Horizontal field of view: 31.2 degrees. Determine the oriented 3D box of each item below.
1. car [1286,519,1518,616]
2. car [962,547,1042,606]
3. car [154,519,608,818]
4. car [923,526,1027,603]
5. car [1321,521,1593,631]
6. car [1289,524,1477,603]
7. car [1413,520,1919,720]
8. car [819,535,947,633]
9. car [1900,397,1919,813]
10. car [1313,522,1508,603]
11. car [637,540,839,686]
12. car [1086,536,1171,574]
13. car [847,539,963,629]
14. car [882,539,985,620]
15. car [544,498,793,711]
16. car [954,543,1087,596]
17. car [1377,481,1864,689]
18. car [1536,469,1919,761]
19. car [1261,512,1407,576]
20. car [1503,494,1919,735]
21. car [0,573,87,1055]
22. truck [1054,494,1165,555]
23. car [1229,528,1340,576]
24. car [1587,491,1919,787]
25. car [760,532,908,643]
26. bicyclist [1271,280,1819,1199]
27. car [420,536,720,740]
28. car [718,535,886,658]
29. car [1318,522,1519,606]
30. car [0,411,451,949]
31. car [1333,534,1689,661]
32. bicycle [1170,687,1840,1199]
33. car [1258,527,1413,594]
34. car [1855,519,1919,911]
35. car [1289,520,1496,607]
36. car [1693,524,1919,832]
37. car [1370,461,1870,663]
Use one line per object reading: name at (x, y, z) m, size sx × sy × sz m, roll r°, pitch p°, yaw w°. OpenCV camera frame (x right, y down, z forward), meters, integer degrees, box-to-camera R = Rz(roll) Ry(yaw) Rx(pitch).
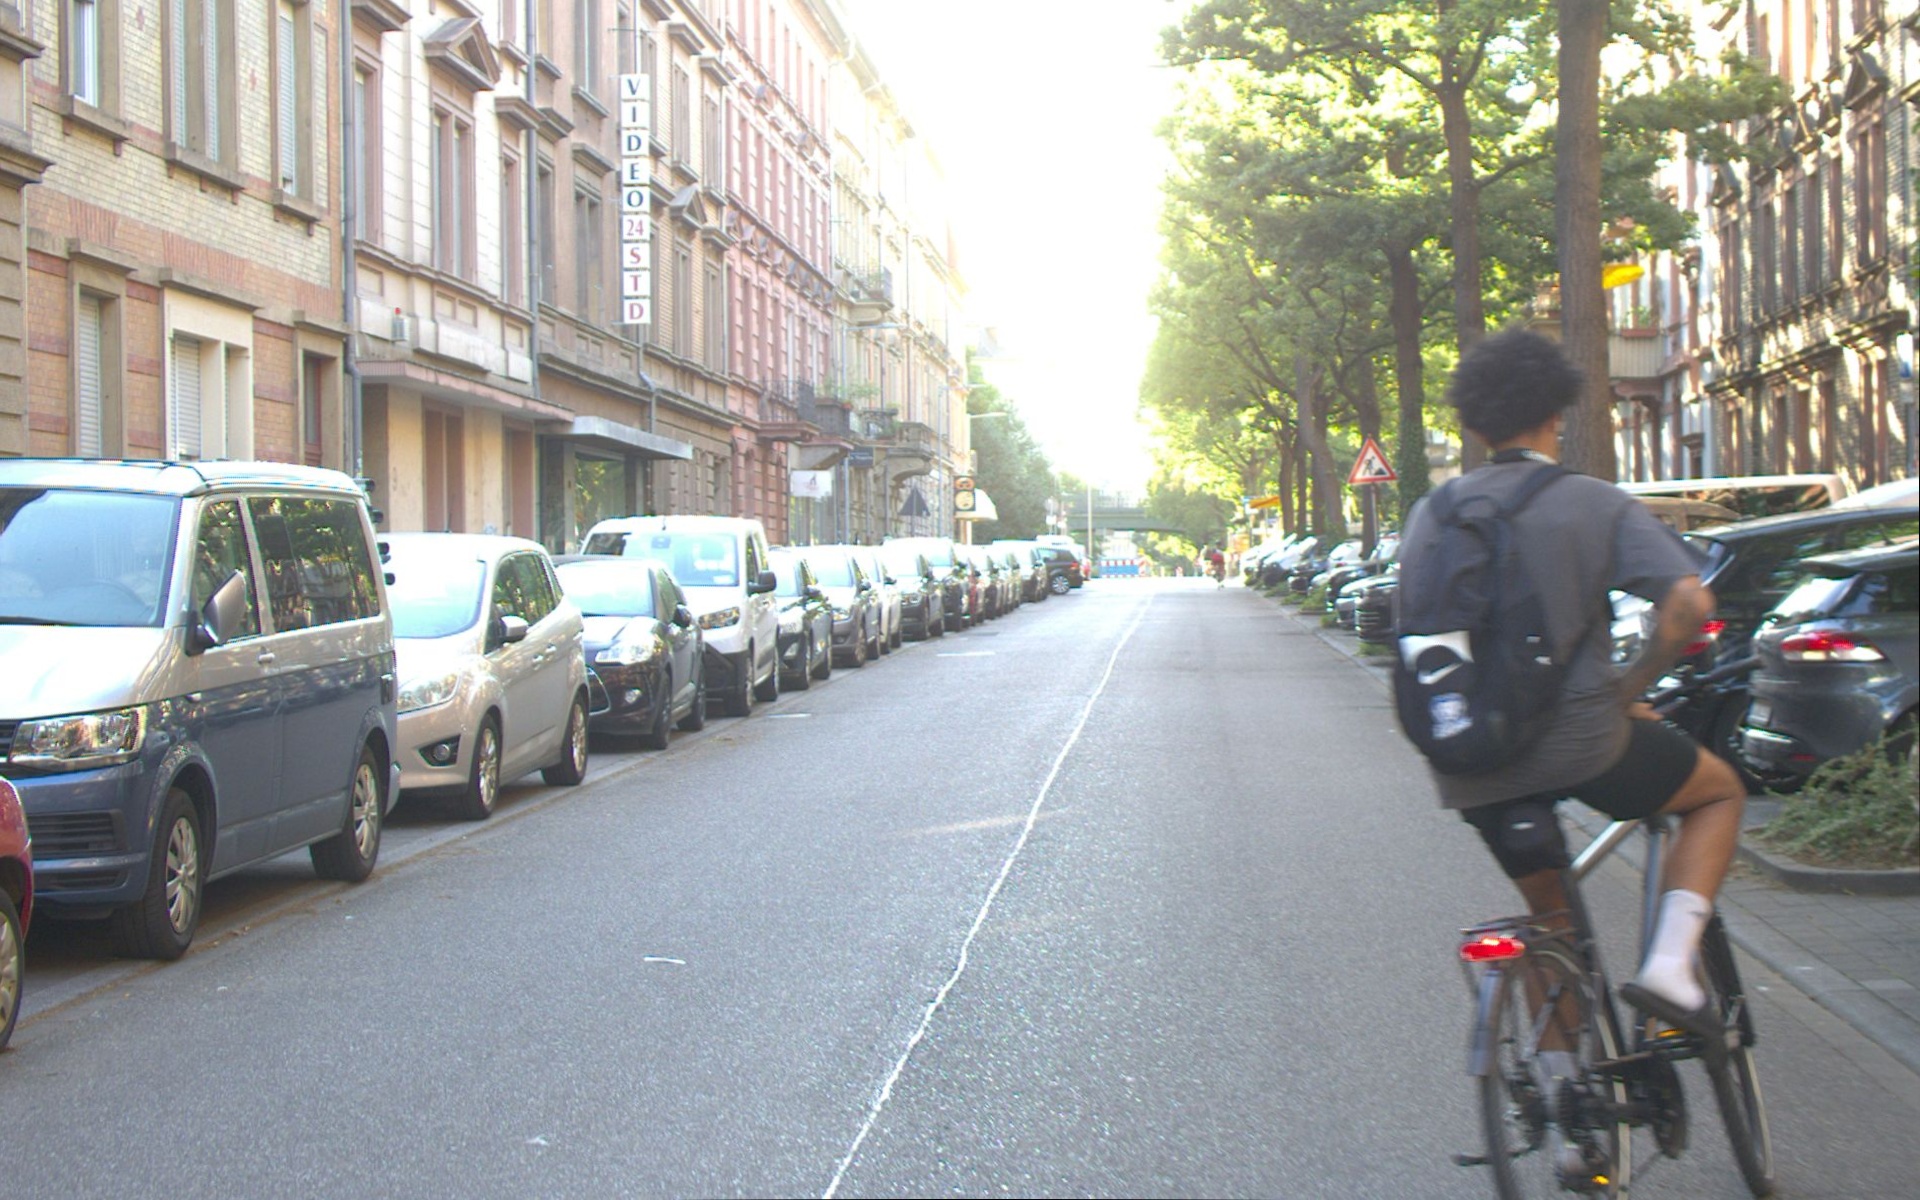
car at (8.000, -0.589, 62.364) m, size 3.849 × 1.568 × 1.718 m, roll -3°, pitch 1°, yaw -4°
car at (1.144, -0.616, 92.005) m, size 1.994 × 1.481 × 3.999 m, roll -1°, pitch -1°, yaw 3°
car at (-3.409, 0.337, 21.075) m, size 1.754 × 1.603 × 4.383 m, roll 1°, pitch 1°, yaw 4°
car at (0.342, -0.712, 71.876) m, size 1.994 × 1.481 × 3.999 m, roll -1°, pitch -1°, yaw 3°
car at (7.542, -0.375, 52.417) m, size 3.850 × 1.474 × 1.718 m, roll -2°, pitch 1°, yaw 1°
car at (9.409, -0.825, 76.683) m, size 3.849 × 1.568 × 1.718 m, roll -3°, pitch 1°, yaw -4°
car at (5.941, 0.136, 27.909) m, size 4.220 × 1.398 × 1.835 m, roll -3°, pitch 1°, yaw -1°
car at (-1.187, -0.285, 54.664) m, size 1.758 × 1.468 × 4.059 m, roll -1°, pitch 1°, yaw 2°
car at (5.258, 0.221, 10.047) m, size 4.444 × 1.917 × 1.850 m, roll -3°, pitch 2°, yaw 2°
car at (9.758, -0.822, 74.619) m, size 3.849 × 1.568 × 1.718 m, roll -3°, pitch 1°, yaw -4°
car at (-2.363, 0.102, 37.487) m, size 1.758 × 1.468 × 4.059 m, roll -1°, pitch 1°, yaw 2°
car at (8.392, -2.259, 170.896) m, size 3.989 × 1.853 × 1.750 m, roll 1°, pitch 1°, yaw 12°
car at (-0.918, -0.297, 59.422) m, size 1.758 × 1.468 × 4.059 m, roll -1°, pitch 1°, yaw 2°
car at (-0.486, -0.421, 65.898) m, size 1.758 × 1.468 × 4.059 m, roll -1°, pitch 1°, yaw 2°
car at (-2.673, -0.003, 32.442) m, size 1.758 × 1.835 × 4.529 m, roll -1°, pitch 1°, yaw 2°
car at (1.819, -0.881, 102.311) m, size 1.997 × 1.481 × 3.991 m, roll -1°, pitch -1°, yaw 36°
car at (6.417, -0.164, 33.523) m, size 4.220 × 1.789 × 1.836 m, roll -3°, pitch 1°, yaw -15°
car at (6.092, 0.037, 22.803) m, size 4.221 × 1.770 × 1.835 m, roll -2°, pitch 1°, yaw 3°
car at (10.247, -1.544, 94.402) m, size 3.850 × 1.568 × 1.718 m, roll -2°, pitch 1°, yaw 3°
car at (6.344, 0.052, 25.497) m, size 4.220 × 1.605 × 1.835 m, roll -3°, pitch 1°, yaw -3°
car at (-3.845, 0.666, 9.495) m, size 1.593 × 1.470 × 3.699 m, roll 1°, pitch 1°, yaw 6°
truck at (10.054, -5.079, 231.101) m, size 7.222 × 3.936 × 2.437 m, roll 1°, pitch 1°, yaw -33°
car at (11.752, -1.741, 124.678) m, size 3.850 × 1.568 × 1.718 m, roll -2°, pitch 1°, yaw 3°
car at (5.838, 0.167, 20.167) m, size 4.011 × 1.601 × 1.733 m, roll -2°, pitch 0°, yaw 4°
car at (-1.736, -0.204, 48.436) m, size 1.758 × 1.468 × 4.059 m, roll -1°, pitch 1°, yaw 2°
bicyclist at (1.292, 0.271, 7.398) m, size 0.996 × 1.784 × 1.206 m, roll 0°, pitch 0°, yaw 18°
car at (-3.031, 0.246, 27.449) m, size 1.758 × 1.462 × 4.000 m, roll 1°, pitch 1°, yaw 2°
car at (-1.949, -0.080, 43.572) m, size 1.758 × 1.468 × 4.059 m, roll -1°, pitch 1°, yaw 2°
car at (9.580, -0.762, 72.015) m, size 3.849 × 1.568 × 1.718 m, roll -3°, pitch 1°, yaw -4°
car at (-3.720, 0.229, 15.118) m, size 1.832 × 1.936 × 5.259 m, roll 1°, pitch 1°, yaw 4°
car at (6.389, -0.044, 40.140) m, size 3.850 × 1.289 × 1.718 m, roll -2°, pitch 1°, yaw 1°
bicycle at (1.293, 0.806, 7.395) m, size 0.996 × 1.154 × 2.920 m, roll 0°, pitch 0°, yaw 18°
car at (9.765, -1.027, 89.538) m, size 3.850 × 1.568 × 1.718 m, roll -2°, pitch 1°, yaw 3°
car at (5.383, 0.342, 12.535) m, size 3.658 × 1.450 × 1.850 m, roll -3°, pitch 2°, yaw -2°
car at (8.746, -0.749, 69.663) m, size 3.849 × 1.568 × 1.718 m, roll -3°, pitch 1°, yaw -4°
car at (5.902, 0.307, 17.410) m, size 4.011 × 1.462 × 1.733 m, roll -2°, pitch 0°, yaw 4°
car at (7.065, -0.416, 37.219) m, size 5.057 × 1.919 × 1.835 m, roll -2°, pitch 1°, yaw 4°
